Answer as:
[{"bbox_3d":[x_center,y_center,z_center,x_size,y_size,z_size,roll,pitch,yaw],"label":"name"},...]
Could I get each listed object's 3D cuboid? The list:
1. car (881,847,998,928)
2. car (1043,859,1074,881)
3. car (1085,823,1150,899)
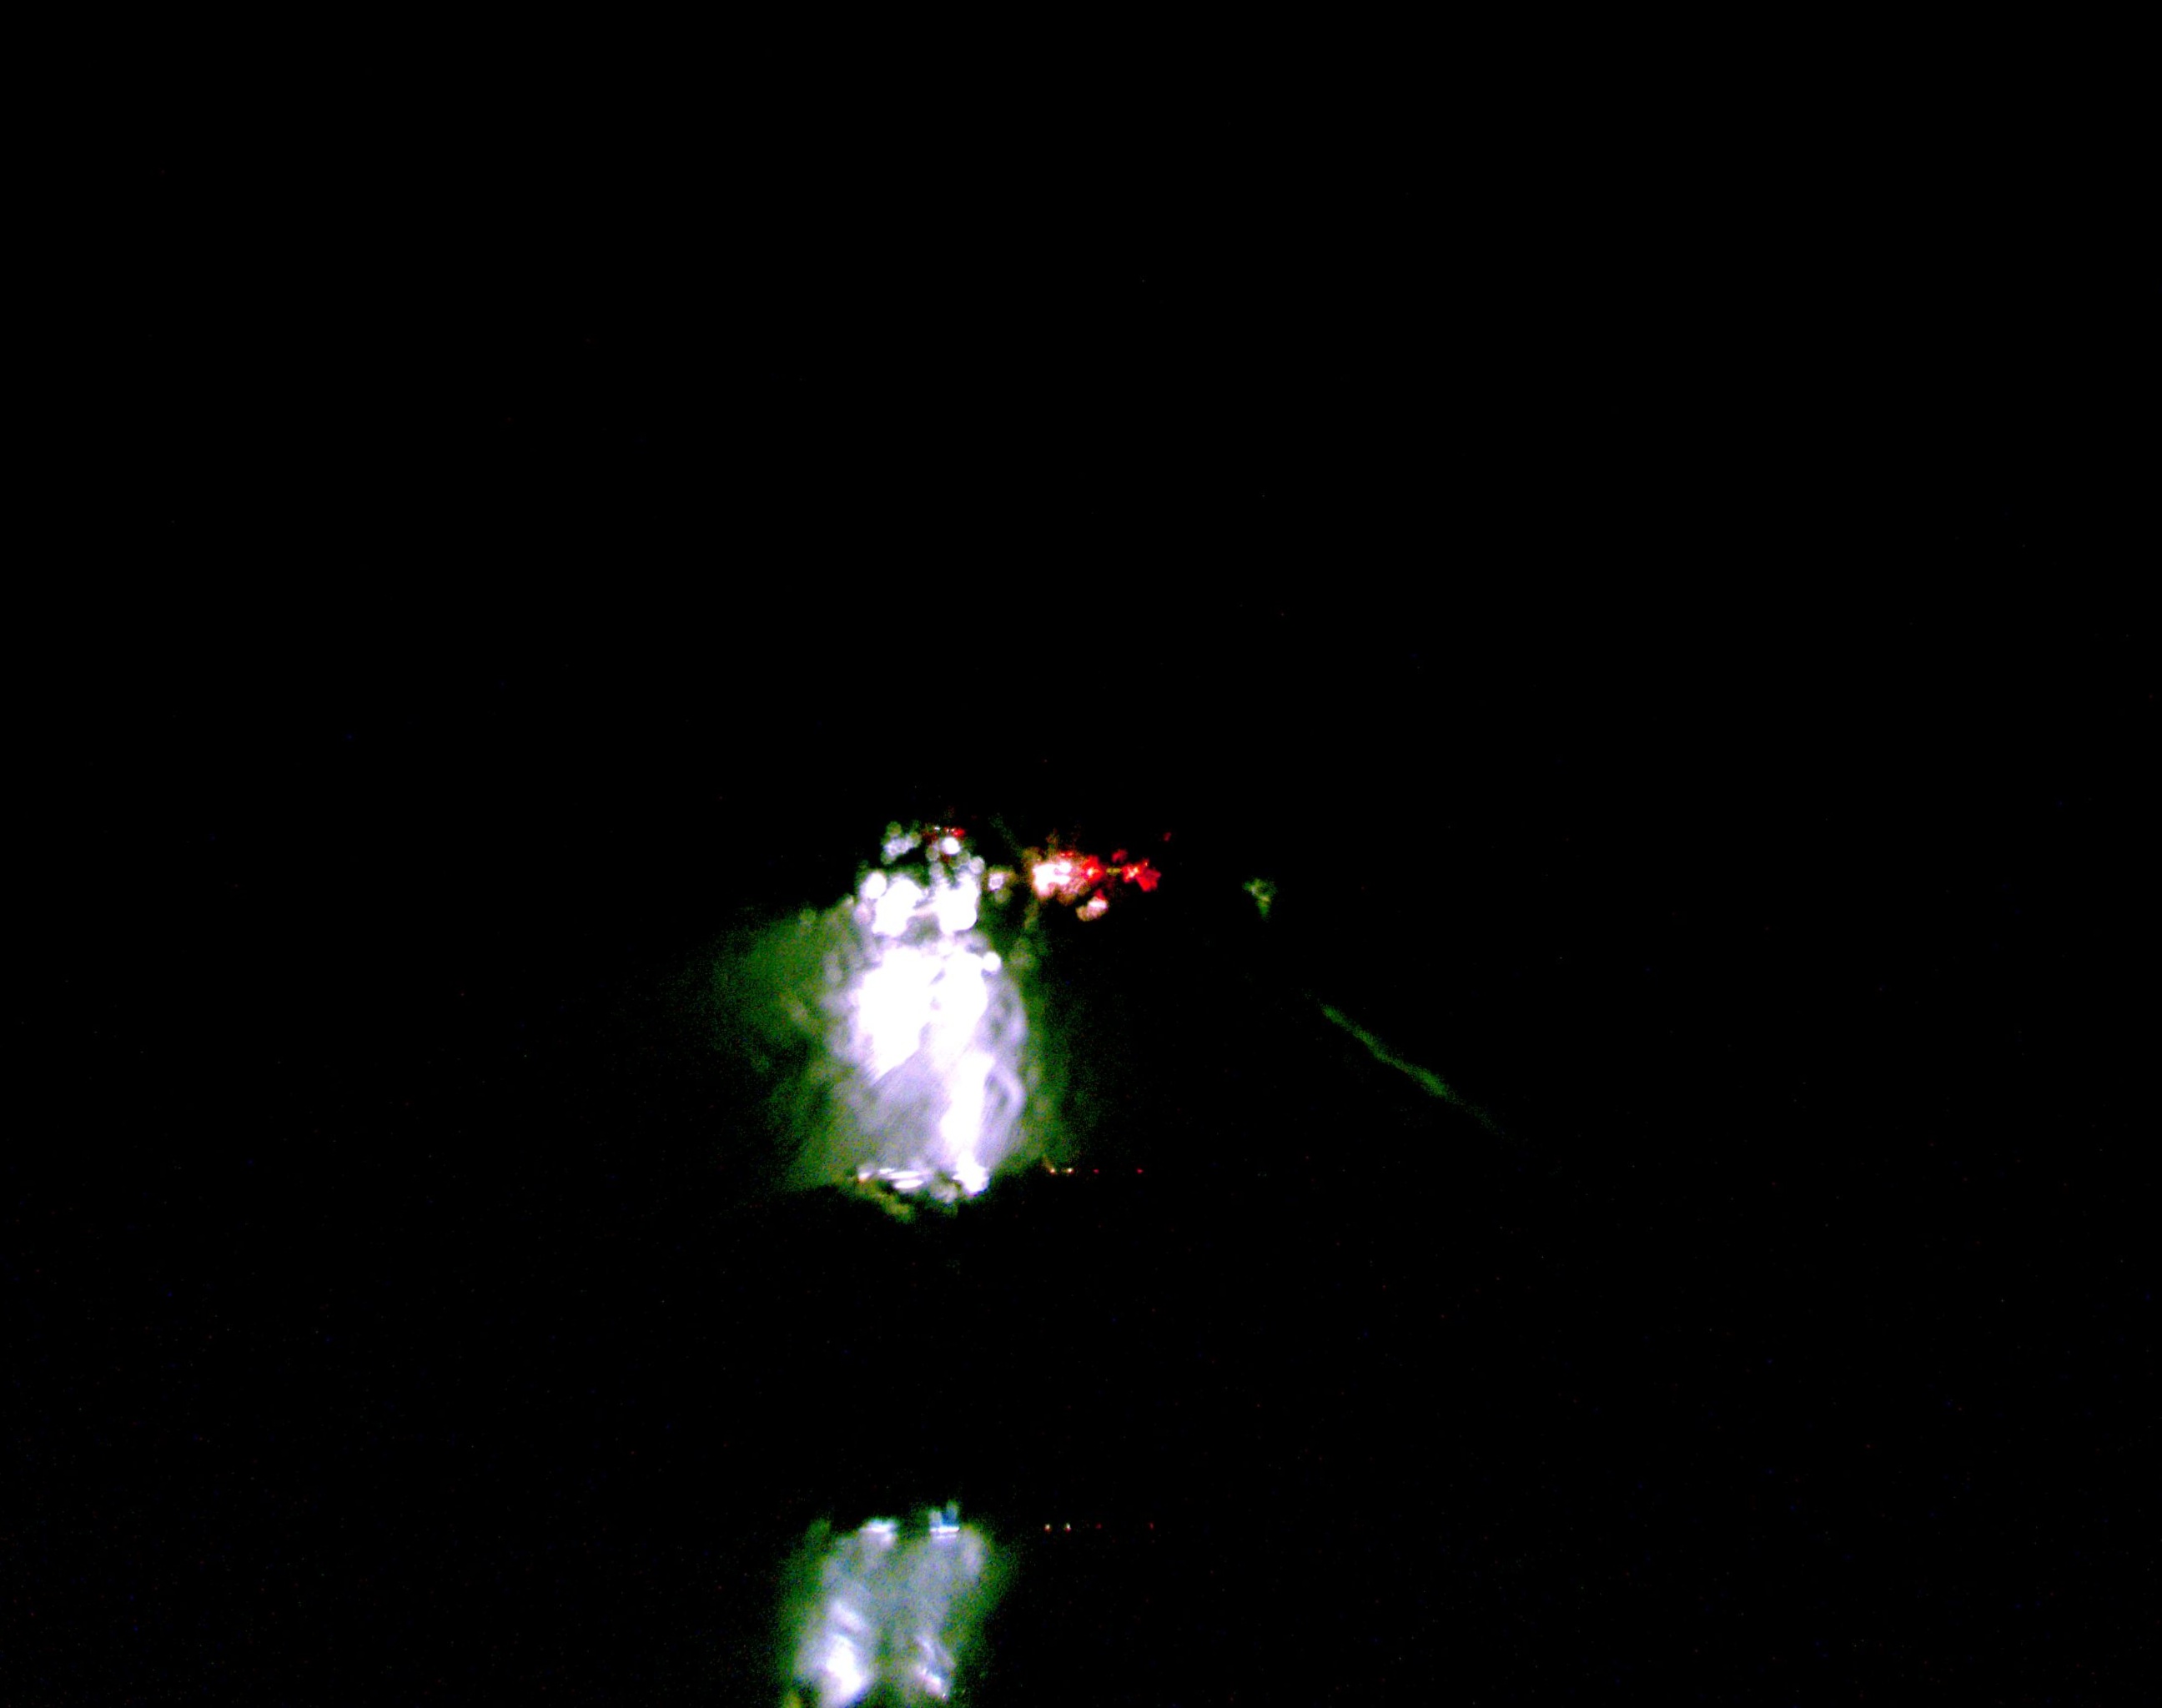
[{"bbox_3d":[-2.939,0.639,17.667,1.766,1.510,3.691,-1,1,2],"label":"car"},{"bbox_3d":[-1.648,1.181,61.216,1.911,1.471,4.577,-3,-1,3],"label":"car"},{"bbox_3d":[1.302,0.170,29.657,2.173,2.557,4.510,0,2,2],"label":"car"}]
